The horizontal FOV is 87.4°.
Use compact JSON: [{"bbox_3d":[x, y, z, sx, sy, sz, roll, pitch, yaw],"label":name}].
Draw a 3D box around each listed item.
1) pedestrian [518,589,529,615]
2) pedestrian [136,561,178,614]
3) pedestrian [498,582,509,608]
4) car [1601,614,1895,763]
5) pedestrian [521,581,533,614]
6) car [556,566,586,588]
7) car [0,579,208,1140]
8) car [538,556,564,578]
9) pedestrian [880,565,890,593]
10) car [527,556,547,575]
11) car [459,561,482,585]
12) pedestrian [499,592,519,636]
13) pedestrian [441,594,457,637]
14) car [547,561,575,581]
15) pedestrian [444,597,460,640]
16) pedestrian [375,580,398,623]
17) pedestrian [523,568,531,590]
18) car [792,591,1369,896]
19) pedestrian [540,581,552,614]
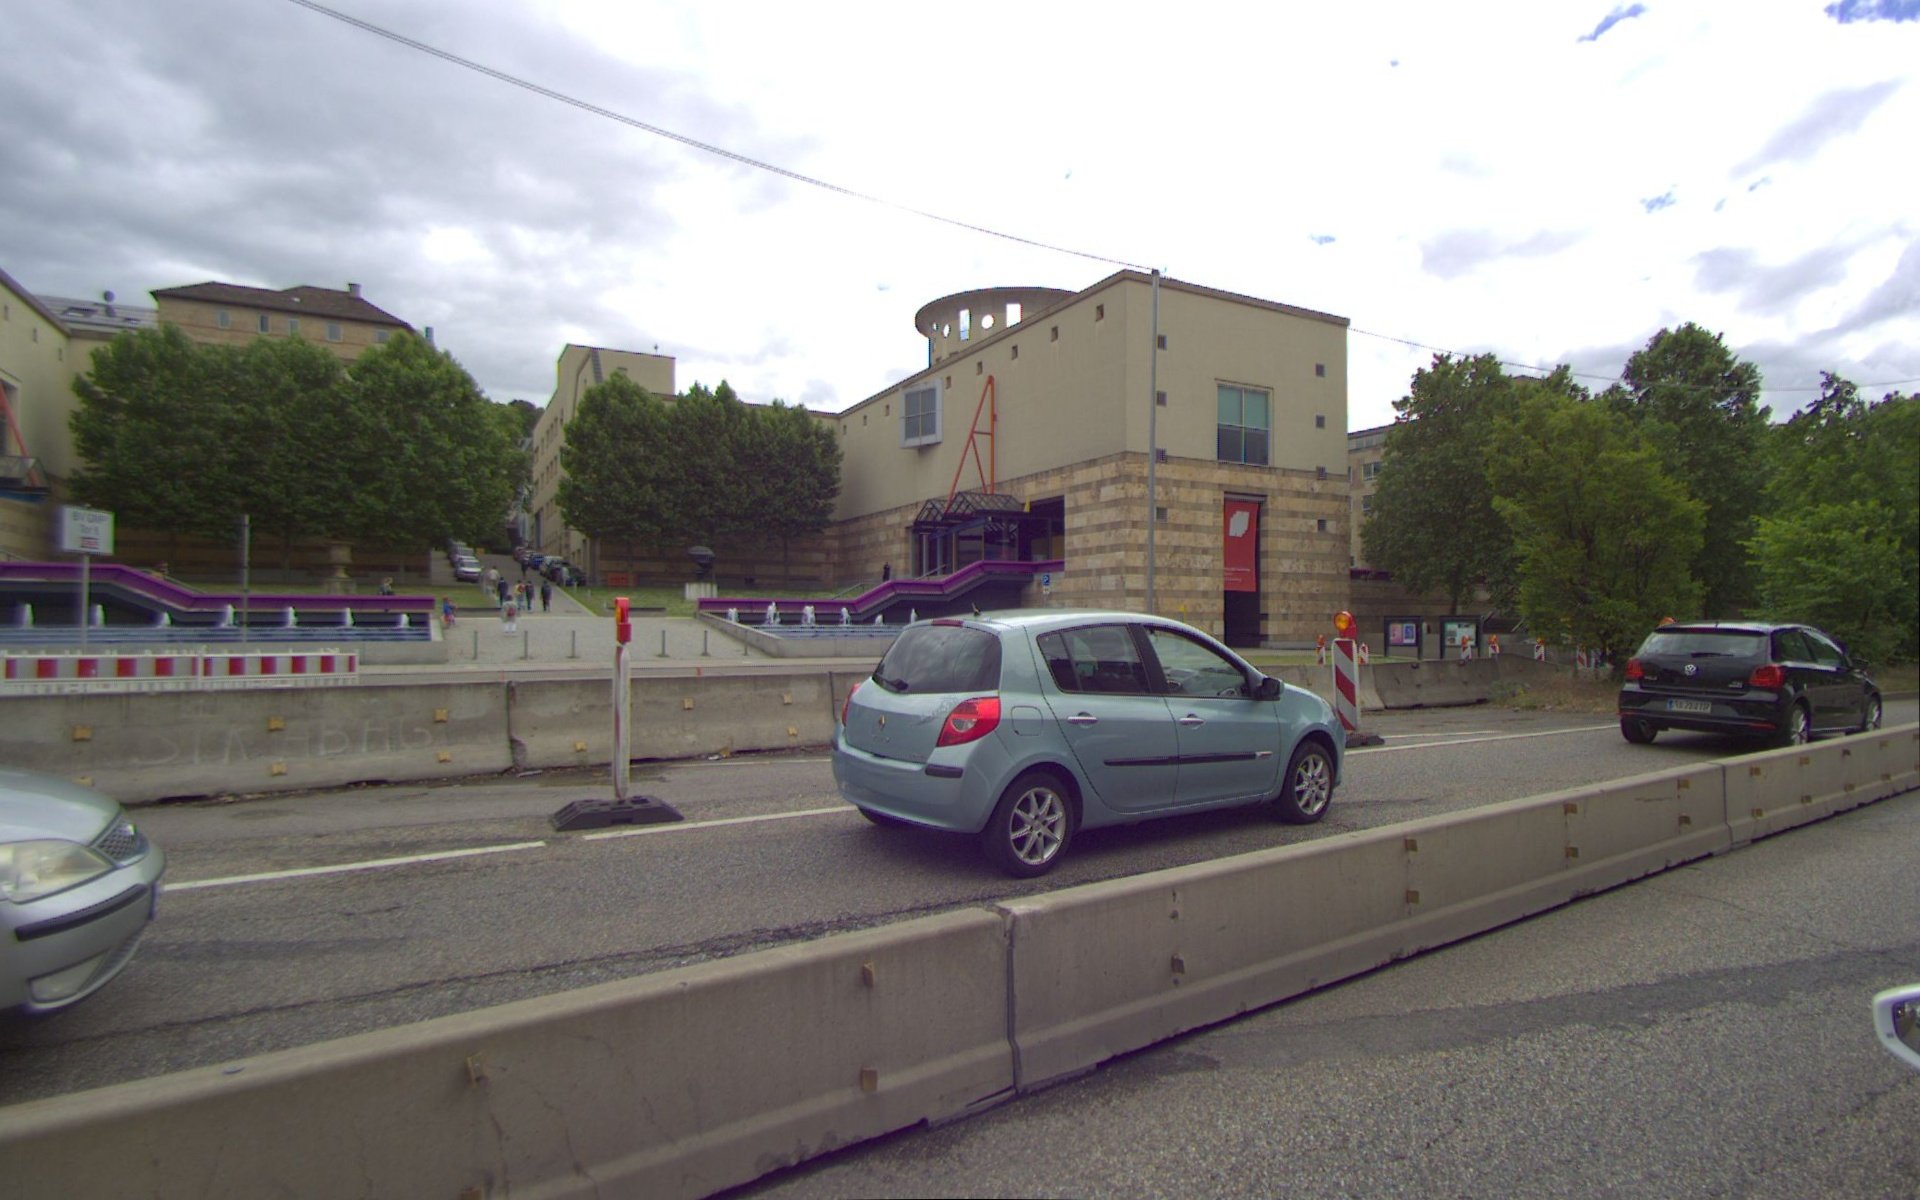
[{"bbox_3d":[-24.146,0.102,55.560,0.472,1.441,0.402,1,0,-31],"label":"pedestrian"},{"bbox_3d":[-31.717,-0.482,39.680,1.078,2.040,0.915,2,1,-25],"label":"pedestrian"},{"bbox_3d":[-25.510,-0.254,56.104,0.472,1.441,0.402,1,0,-31],"label":"pedestrian"},{"bbox_3d":[9.490,0.945,11.999,4.156,1.473,1.648,2,0,-35],"label":"car"},{"bbox_3d":[-23.516,-0.153,54.538,0.472,1.772,0.642,1,0,-30],"label":"pedestrian"},{"bbox_3d":[-29.329,-1.770,75.762,1.591,1.557,3.778,2,1,-29],"label":"car"},{"bbox_3d":[-4.676,0.646,2.290,4.659,1.501,1.865,2,0,-36],"label":"car"},{"bbox_3d":[-35.552,-2.842,87.318,1.591,1.822,3.778,2,1,-29],"label":"car"},{"bbox_3d":[-5.575,-1.545,74.659,0.593,2.040,0.409,2,1,-30],"label":"pedestrian"},{"bbox_3d":[-41.896,-3.420,99.538,1.589,1.822,3.782,2,1,-26],"label":"car"},{"bbox_3d":[-37.790,-2.054,77.603,1.589,1.822,3.783,1,0,-26],"label":"car"},{"bbox_3d":[-17.608,0.552,39.229,0.688,1.717,0.523,1,0,-23],"label":"pedestrian"},{"bbox_3d":[-20.460,0.630,40.238,0.520,1.717,0.340,1,0,-30],"label":"pedestrian"},{"bbox_3d":[-32.310,-2.362,81.344,1.591,1.557,3.778,2,1,-29],"label":"car"},{"bbox_3d":[-20.793,0.760,41.115,0.520,1.717,0.693,1,0,-29],"label":"pedestrian"},{"bbox_3d":[-25.582,0.059,44.820,0.794,1.877,0.689,2,1,-28],"label":"pedestrian"},{"bbox_3d":[-35.752,-1.751,82.929,0.535,1.808,0.464,2,-1,-26],"label":"pedestrian"},{"bbox_3d":[0.961,0.757,6.853,3.818,1.527,1.660,2,0,-37],"label":"car"},{"bbox_3d":[-22.724,-0.145,55.130,0.472,1.772,0.642,1,0,-30],"label":"pedestrian"}]
